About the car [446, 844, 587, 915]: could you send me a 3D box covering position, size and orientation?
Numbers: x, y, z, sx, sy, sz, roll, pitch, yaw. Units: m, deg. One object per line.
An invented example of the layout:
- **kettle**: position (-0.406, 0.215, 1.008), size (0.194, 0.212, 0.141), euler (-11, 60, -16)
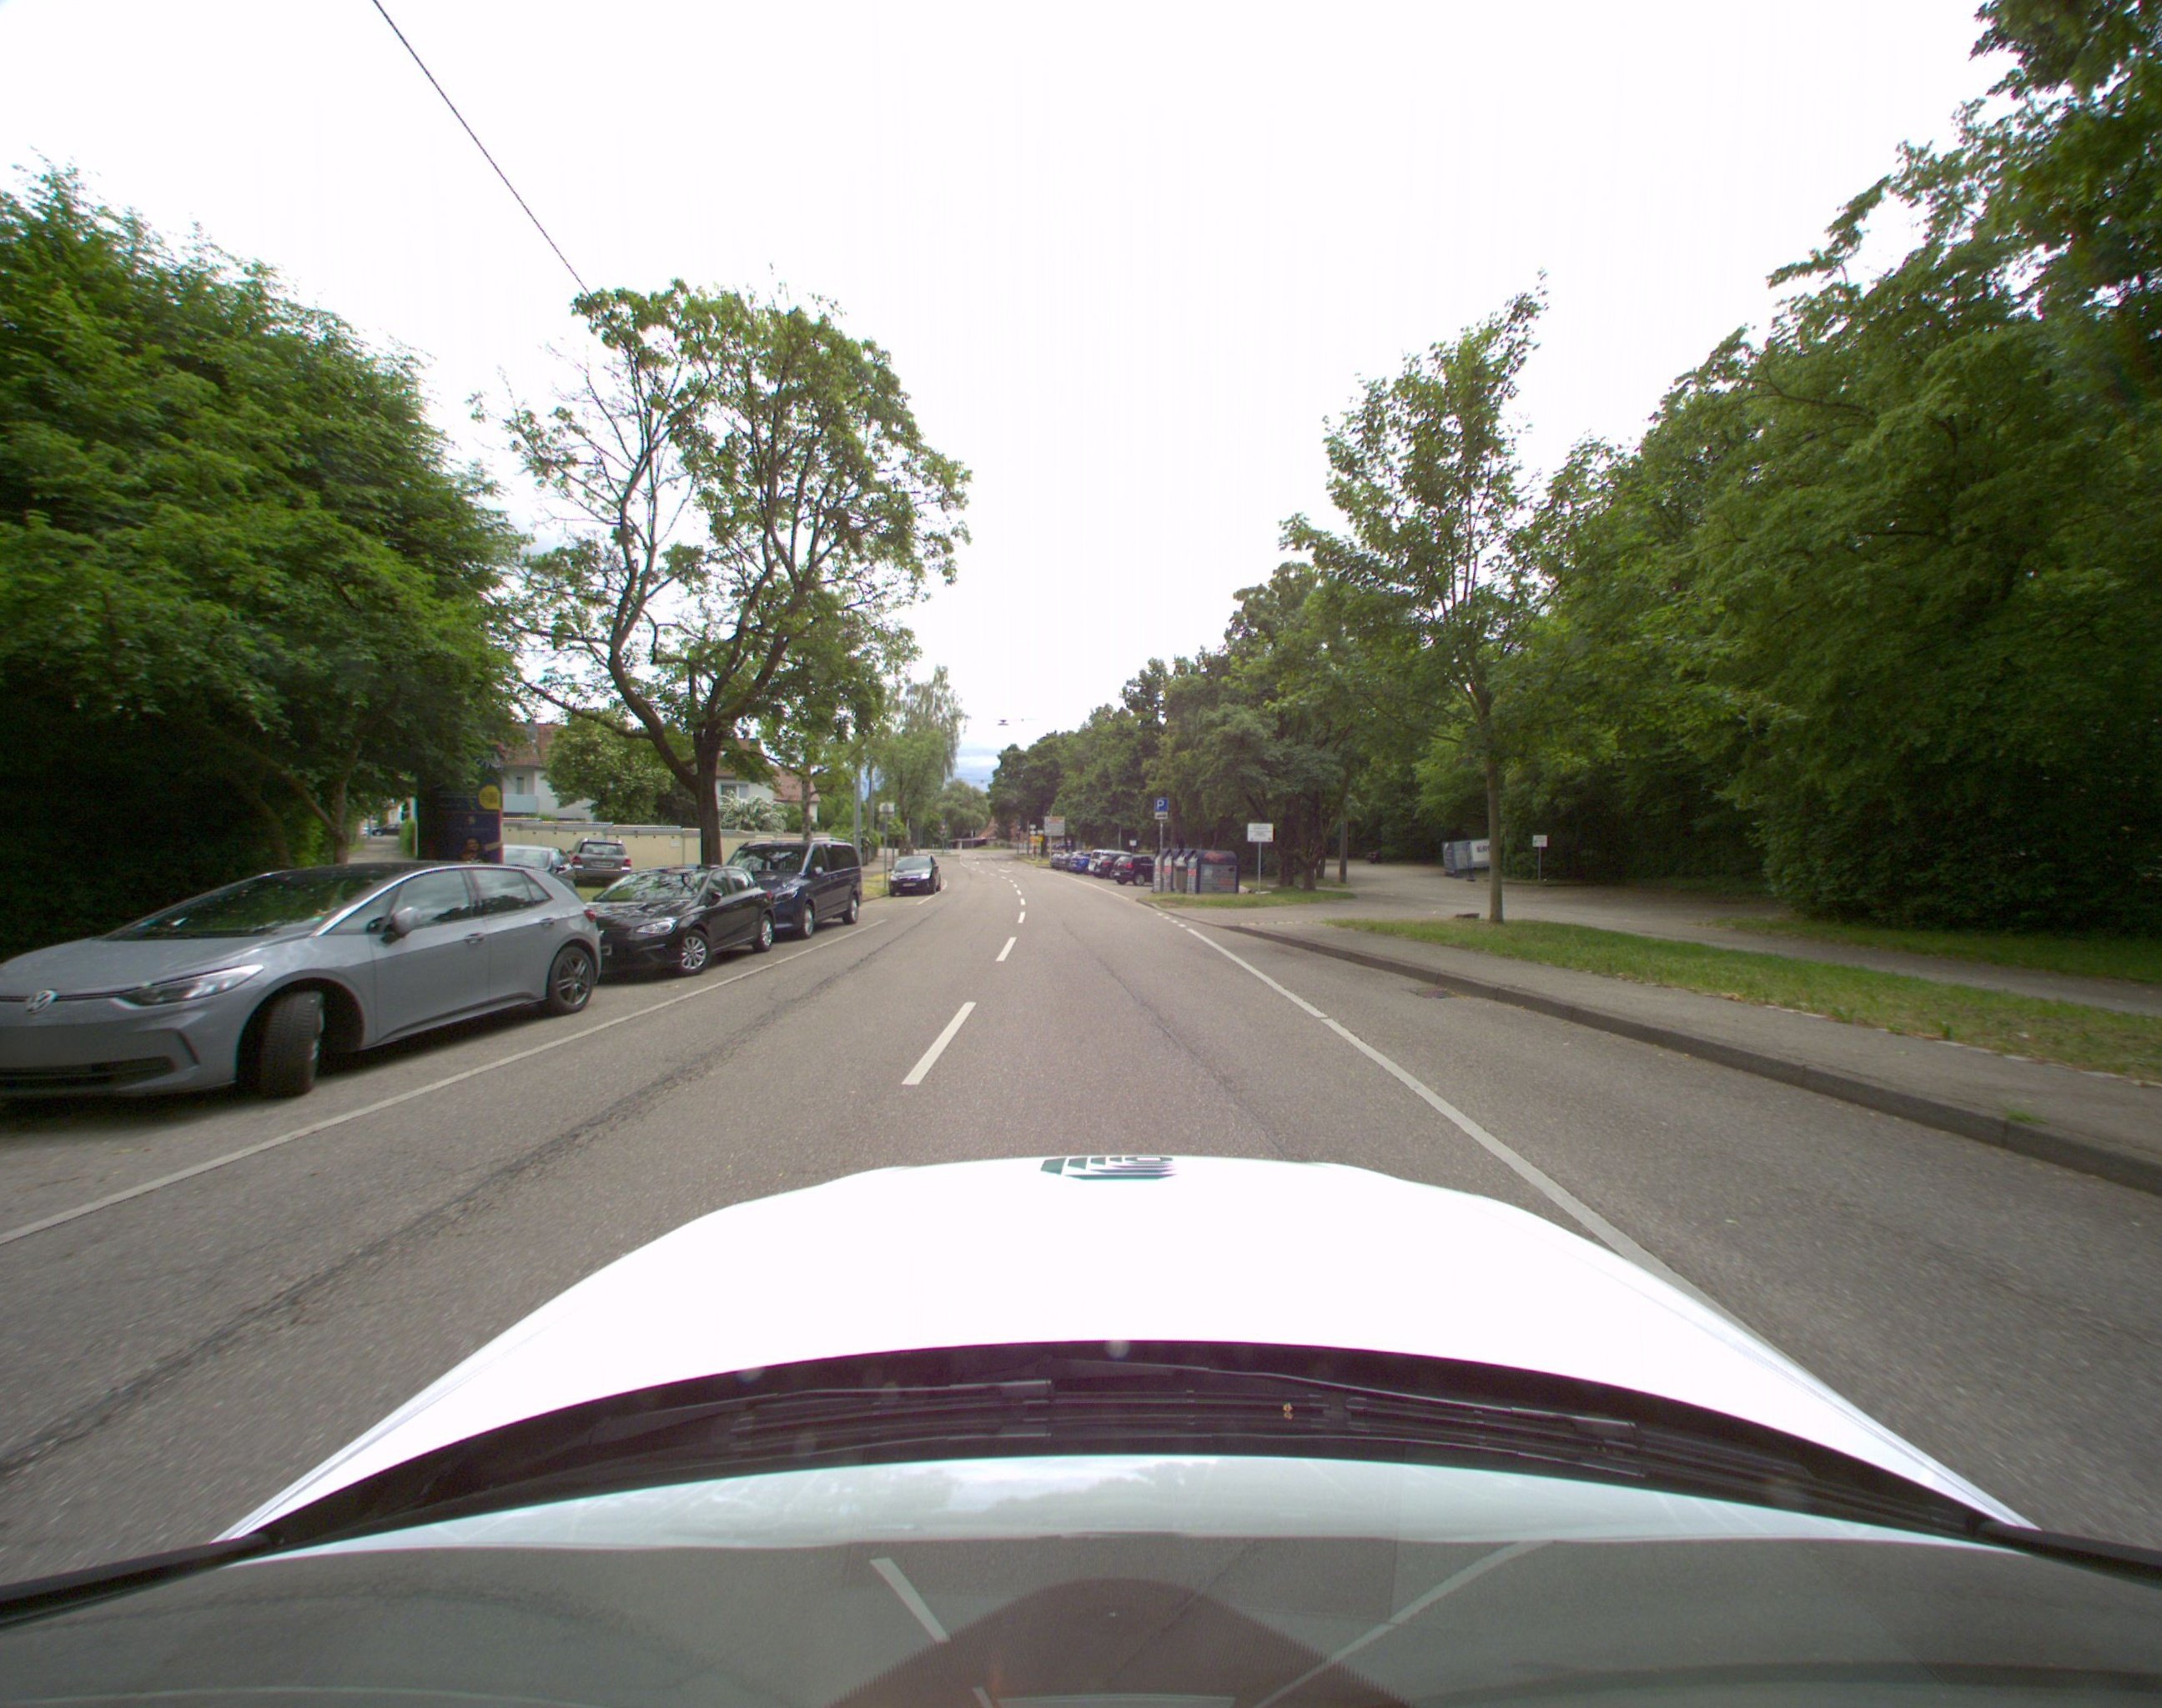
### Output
- **car**: position (-13.432, 0.564, 19.652), size (1.779, 1.478, 3.963), euler (4, -1, -20)

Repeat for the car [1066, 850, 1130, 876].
- **car**: position (1.138, 0.608, 54.192), size (3.839, 1.528, 1.731), euler (3, -1, -27)

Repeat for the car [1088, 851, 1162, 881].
- **car**: position (2.534, 0.686, 46.848), size (3.839, 1.468, 1.731), euler (3, 0, -27)

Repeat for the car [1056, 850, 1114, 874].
- **car**: position (0.291, 0.591, 59.040), size (3.839, 1.528, 1.731), euler (3, -1, -27)

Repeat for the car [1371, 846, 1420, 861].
- **car**: position (29.858, -0.035, 77.439), size (3.976, 1.409, 1.799), euler (0, 0, -2)

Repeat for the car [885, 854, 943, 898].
- **car**: position (-6.708, 0.852, 33.110), size (1.802, 1.563, 4.258), euler (-3, 0, -6)

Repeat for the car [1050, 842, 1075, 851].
- **car**: position (-3.154, -1.283, 139.392), size (3.868, 1.647, 1.982), euler (0, 1, -29)

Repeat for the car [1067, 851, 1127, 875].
- **car**: position (1.146, 0.634, 57.150), size (3.839, 1.528, 1.731), euler (3, -1, -27)

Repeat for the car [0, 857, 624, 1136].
- **car**: position (-5.888, 0.804, 6.661), size (1.860, 1.538, 4.227), euler (0, 0, 1)

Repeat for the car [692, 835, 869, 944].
- **car**: position (-5.933, 0.623, 16.828), size (1.853, 1.909, 5.080), euler (0, 0, -1)

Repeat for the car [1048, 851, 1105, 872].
- **car**: position (-0.327, 0.541, 62.196), size (3.893, 1.426, 1.814), euler (3, -1, -27)

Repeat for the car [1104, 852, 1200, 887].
- **car**: position (3.344, 0.735, 38.502), size (4.008, 1.414, 2.040), euler (3, 1, -27)

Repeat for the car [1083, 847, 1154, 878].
- **car**: position (2.274, 0.524, 49.552), size (3.839, 1.720, 1.862), euler (3, -1, -27)
